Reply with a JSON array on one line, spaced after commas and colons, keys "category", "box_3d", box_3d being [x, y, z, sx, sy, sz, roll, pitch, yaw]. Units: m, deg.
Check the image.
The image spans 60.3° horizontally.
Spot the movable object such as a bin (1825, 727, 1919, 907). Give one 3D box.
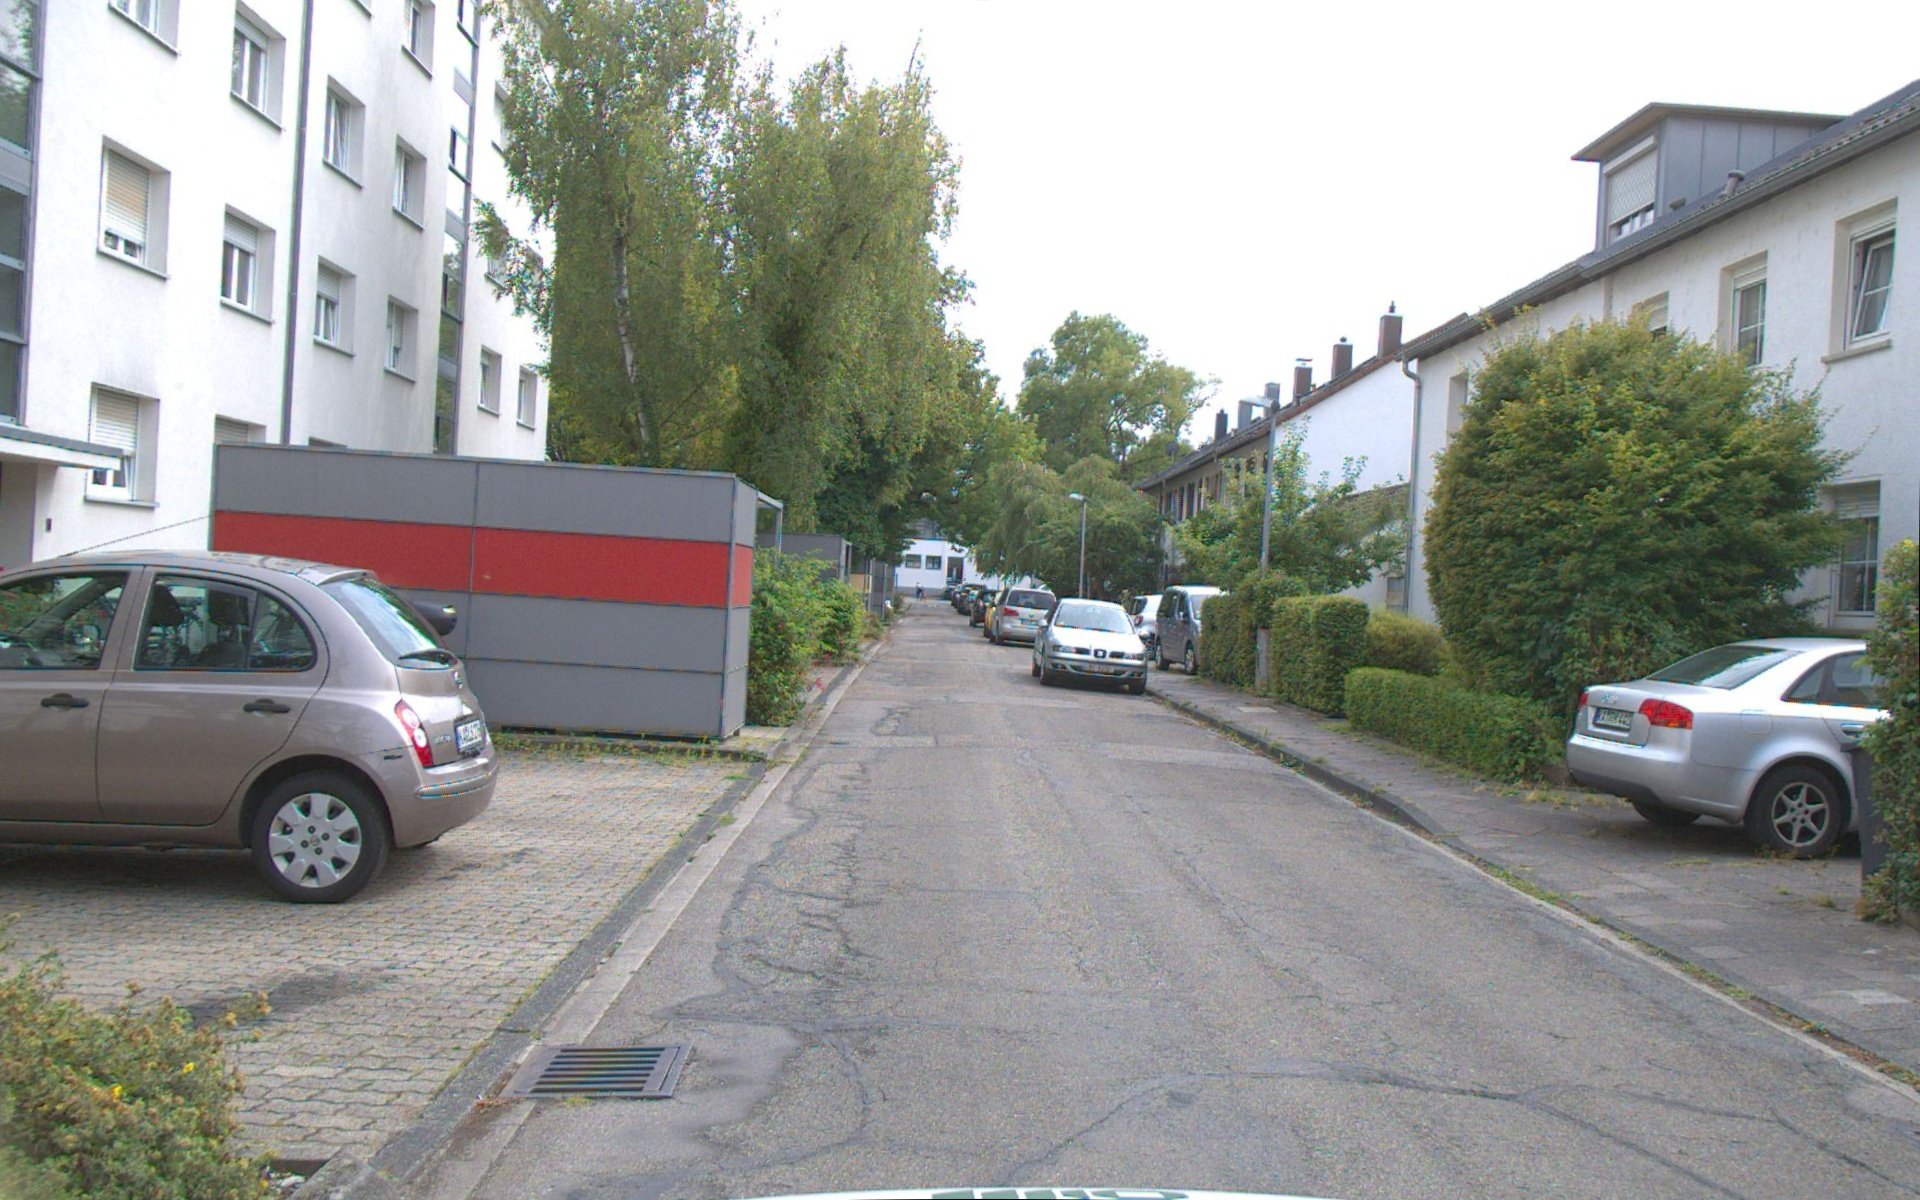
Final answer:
[{"category": "movable object such as a bin", "box_3d": [5.303, 1.223, 9.364, 0.499, 0.937, 0.500, 3, 0, -2]}]

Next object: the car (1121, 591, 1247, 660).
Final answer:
[{"category": "car", "box_3d": [5.450, 0.615, 40.493, 2.760, 1.596, 1.740, 1, 0, -4]}]

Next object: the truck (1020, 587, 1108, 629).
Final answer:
[{"category": "truck", "box_3d": [5.331, 0.410, 85.286, 4.301, 2.049, 1.999, 1, 0, -2]}]

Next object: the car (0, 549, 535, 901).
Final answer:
[{"category": "car", "box_3d": [-4.043, 0.532, 8.129, 3.493, 1.506, 1.709, 2, 0, -6]}]

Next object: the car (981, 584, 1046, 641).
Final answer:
[{"category": "car", "box_3d": [1.684, 0.375, 53.197, 1.788, 1.608, 4.000, 5, 0, -1]}]

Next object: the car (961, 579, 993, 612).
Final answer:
[{"category": "car", "box_3d": [1.062, -0.286, 103.752, 1.788, 1.915, 4.000, 5, 0, -1]}]

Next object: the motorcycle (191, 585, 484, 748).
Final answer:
[{"category": "motorcycle", "box_3d": [-5.042, 0.529, 13.472, 2.098, 1.156, 0.635, 3, 2, -2]}]

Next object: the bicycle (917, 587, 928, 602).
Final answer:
[{"category": "bicycle", "box_3d": [-2.973, -0.429, 131.948, 0.675, 1.151, 2.579, 5, 0, 1]}]

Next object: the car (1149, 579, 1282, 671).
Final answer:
[{"category": "car", "box_3d": [5.276, 0.500, 34.713, 1.789, 1.808, 4.336, 1, 0, -5]}]

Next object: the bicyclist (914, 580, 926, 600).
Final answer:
[{"category": "bicyclist", "box_3d": [-3.157, -0.791, 131.913, 0.782, 1.537, 0.934, 5, 0, 1]}]

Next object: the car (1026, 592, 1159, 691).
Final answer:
[{"category": "car", "box_3d": [2.174, 0.648, 28.208, 1.788, 1.394, 4.330, 5, 0, -1]}]

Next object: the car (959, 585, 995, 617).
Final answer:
[{"category": "car", "box_3d": [0.930, 0.031, 92.087, 1.788, 1.608, 4.000, 5, 0, -1]}]

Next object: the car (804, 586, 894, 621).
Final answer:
[{"category": "car", "box_3d": [-4.987, 0.144, 74.676, 3.950, 1.418, 1.737, 2, 0, -2]}]

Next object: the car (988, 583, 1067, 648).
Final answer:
[{"category": "car", "box_3d": [1.869, 0.402, 46.787, 1.789, 1.608, 3.998, 5, 0, -2]}]

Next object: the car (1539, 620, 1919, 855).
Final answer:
[{"category": "car", "box_3d": [6.427, 0.933, 11.755, 3.943, 1.452, 1.851, 1, 0, -7]}]

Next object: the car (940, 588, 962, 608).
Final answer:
[{"category": "car", "box_3d": [-0.769, -0.200, 144.564, 1.788, 1.608, 4.000, 5, 0, -1]}]

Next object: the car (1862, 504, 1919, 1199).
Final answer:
[{"category": "car", "box_3d": [2.675, 0.748, 0.964, 1.789, 1.664, 4.159, 5, 0, -4]}]

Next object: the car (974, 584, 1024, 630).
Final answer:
[{"category": "car", "box_3d": [1.541, 0.262, 66.975, 1.788, 1.608, 4.192, 5, 0, -1]}]
